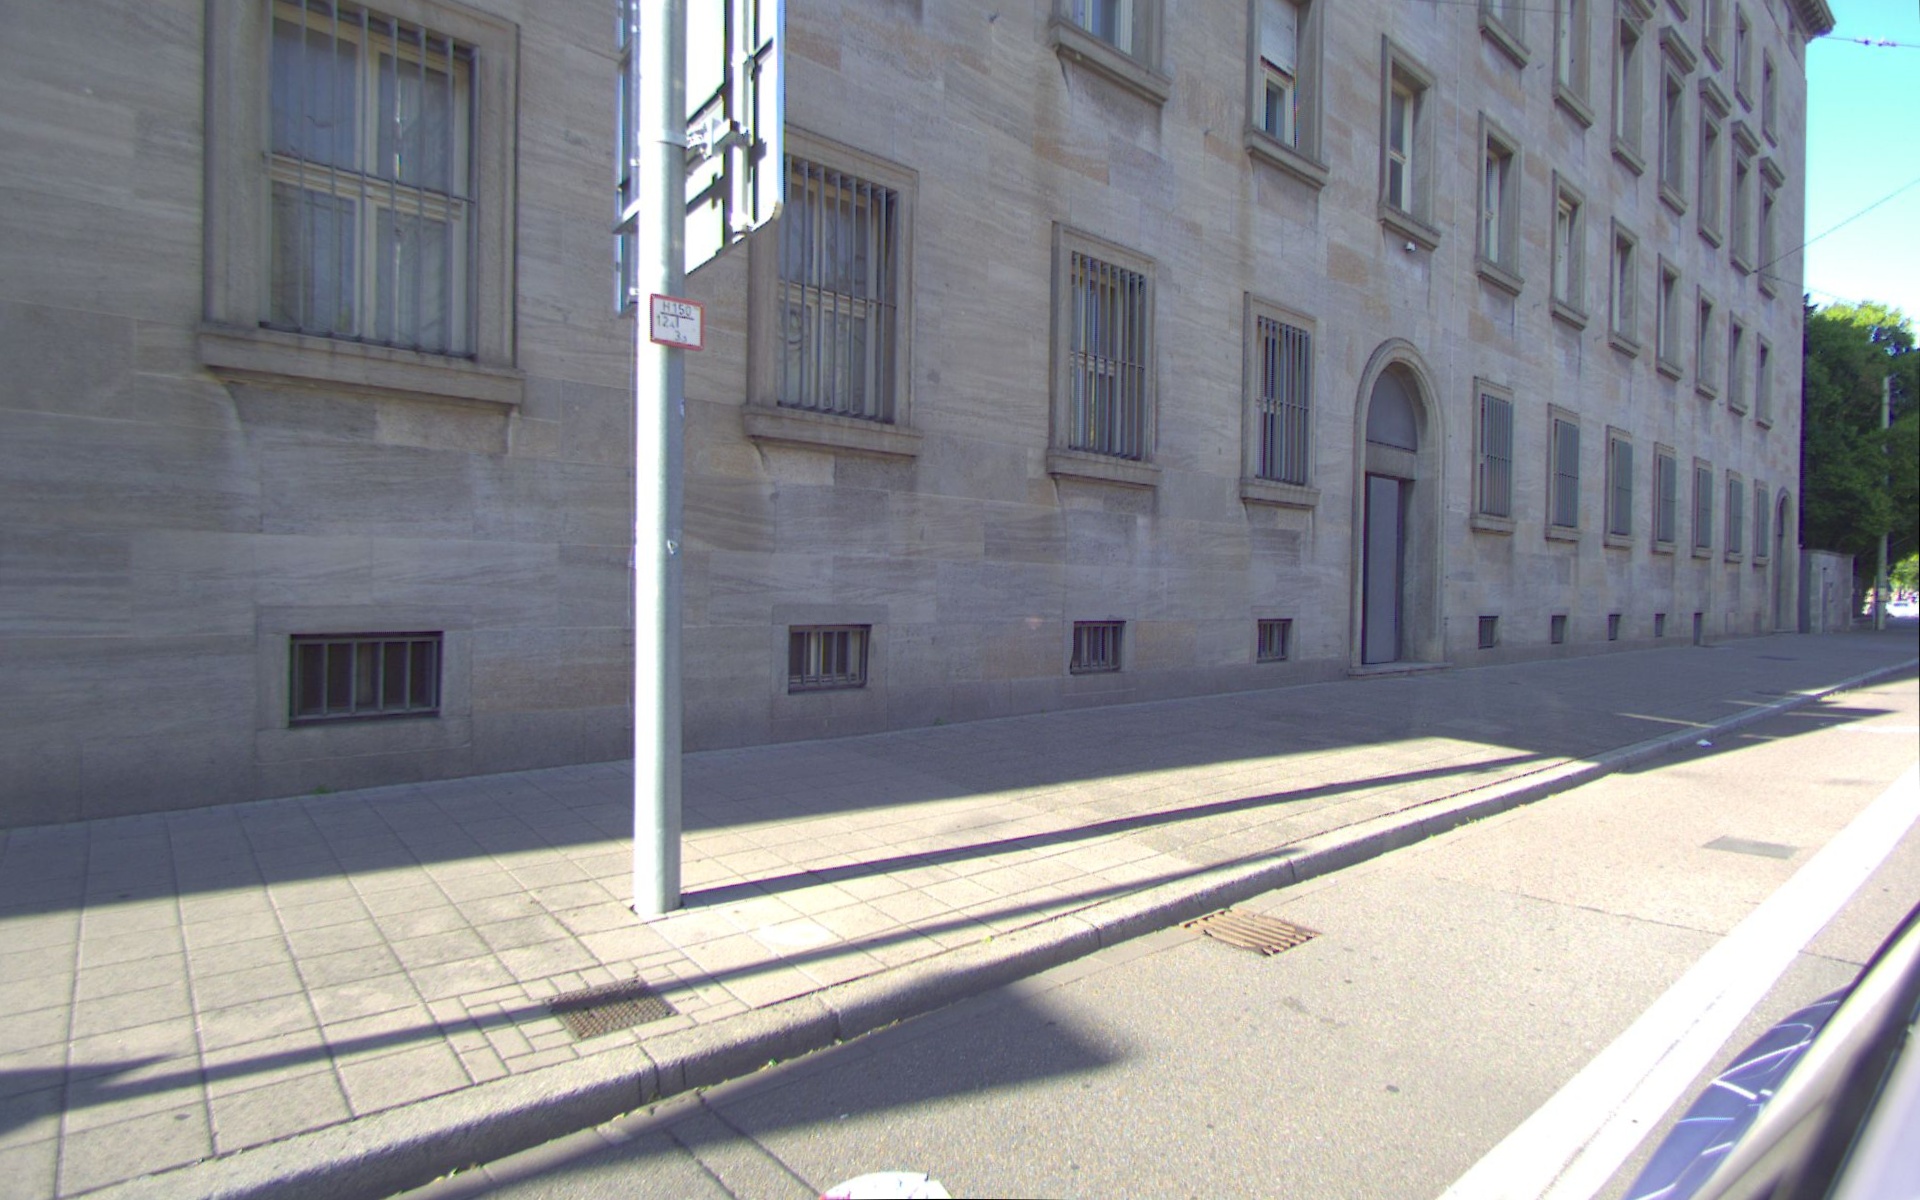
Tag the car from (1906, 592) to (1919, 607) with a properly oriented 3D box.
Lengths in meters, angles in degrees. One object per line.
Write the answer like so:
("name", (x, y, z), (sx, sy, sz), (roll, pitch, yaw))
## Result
("car", (94.144, -0.046, 99.310), (1.765, 1.455, 3.777), (2, 1, 41))
